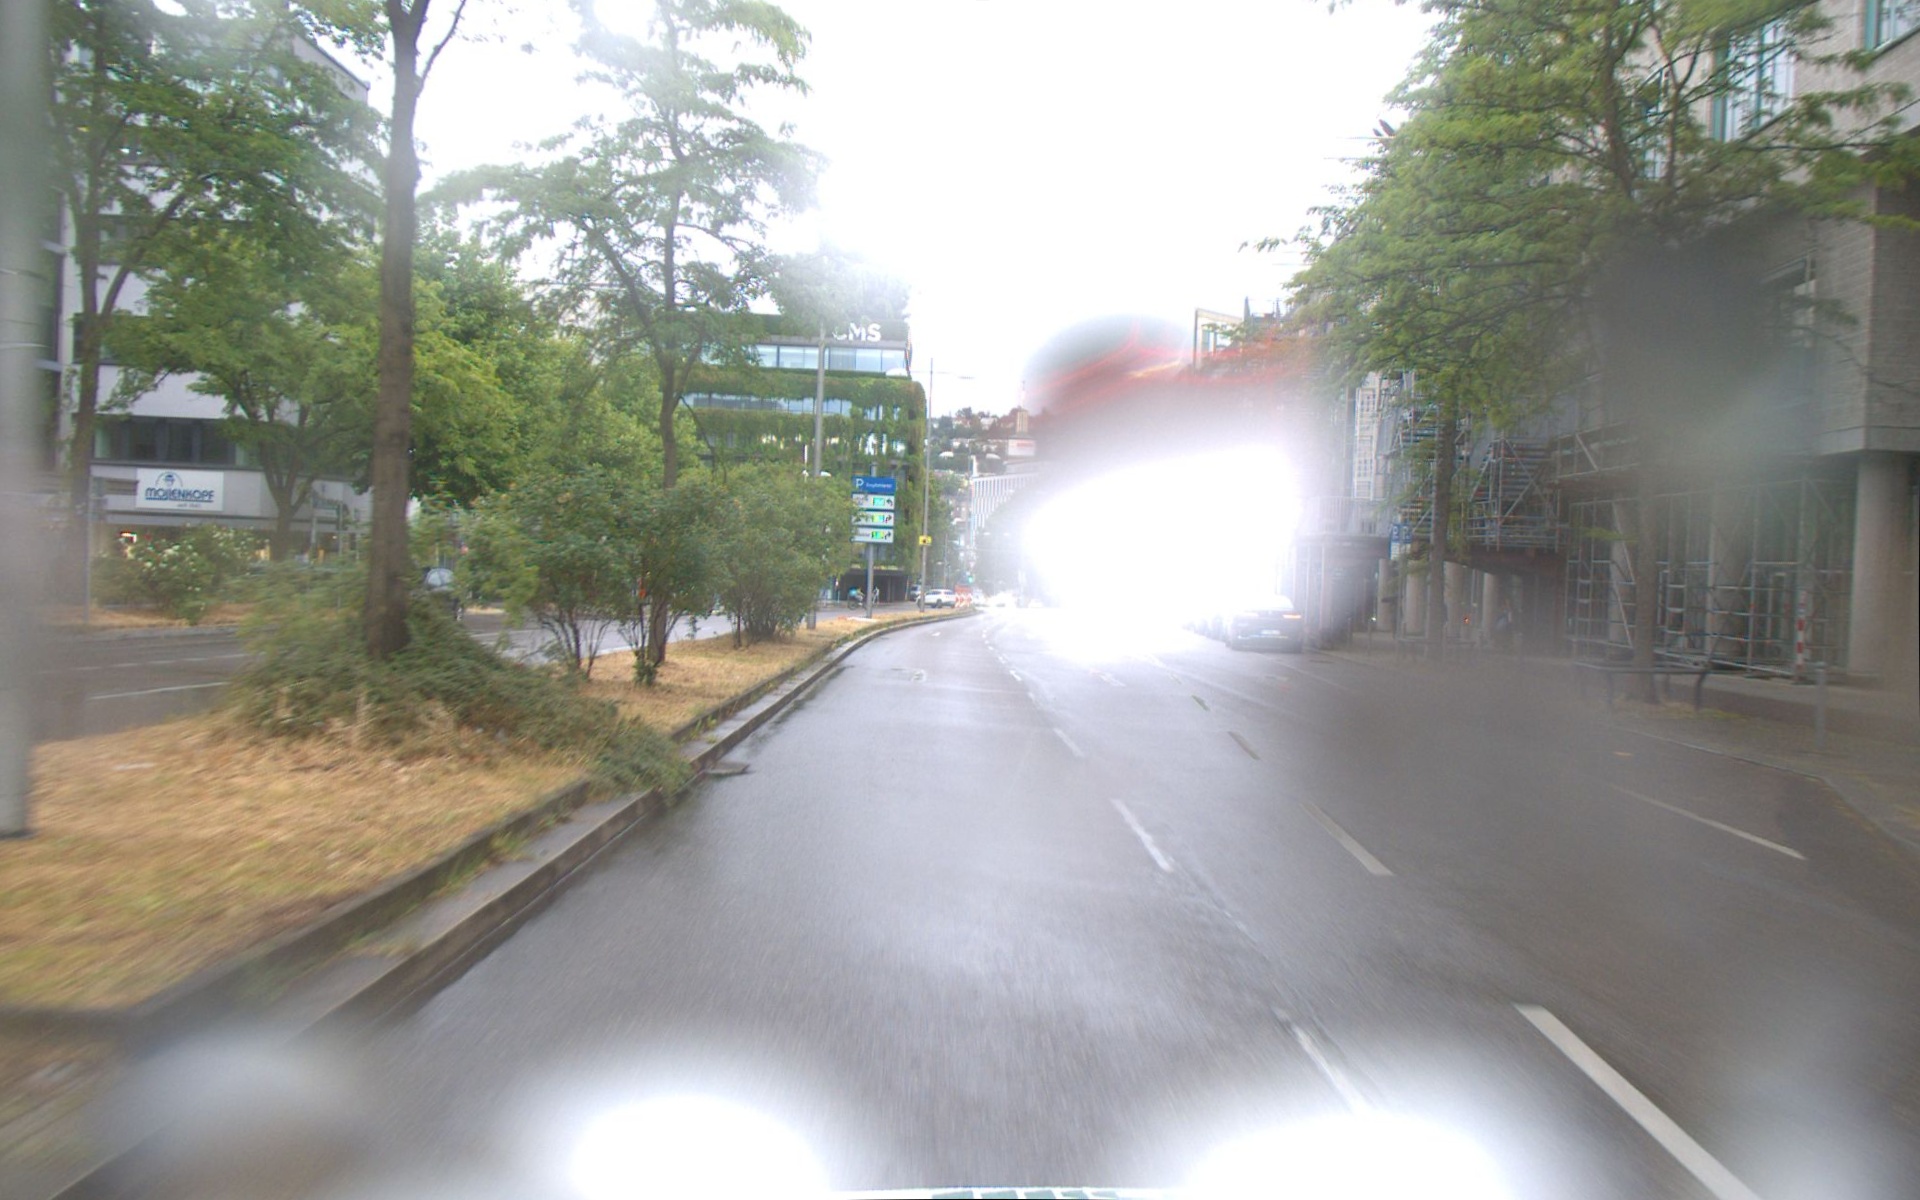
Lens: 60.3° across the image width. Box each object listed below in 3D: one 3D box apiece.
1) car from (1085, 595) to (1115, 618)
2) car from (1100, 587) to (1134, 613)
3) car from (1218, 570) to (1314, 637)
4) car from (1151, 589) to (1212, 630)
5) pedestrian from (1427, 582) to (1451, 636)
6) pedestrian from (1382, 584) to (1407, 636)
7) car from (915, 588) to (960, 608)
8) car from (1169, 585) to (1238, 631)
[{"bbox_3d":[10.949,0.539,129.385,1.953,1.766,3.999,1,-1,-1],"label":"car"},{"bbox_3d":[11.228,0.032,118.279,1.953,1.754,3.999,1,-1,-1],"label":"car"},{"bbox_3d":[8.447,0.087,45.976,2.288,1.721,4.003,1,0,6],"label":"car"},{"bbox_3d":[8.620,0.347,64.650,1.807,1.518,4.000,1,0,0],"label":"car"},{"bbox_3d":[17.599,0.321,60.764,0.759,1.954,0.703,1,-1,9],"label":"pedestrian"},{"bbox_3d":[16.477,0.380,62.738,0.759,1.954,0.702,1,-1,-2],"label":"pedestrian"},{"bbox_3d":[-2.009,-0.223,148.304,1.817,1.668,4.240,1,0,-39],"label":"car"},{"bbox_3d":[8.465,0.261,57.773,1.807,1.518,4.000,1,0,0],"label":"car"}]
